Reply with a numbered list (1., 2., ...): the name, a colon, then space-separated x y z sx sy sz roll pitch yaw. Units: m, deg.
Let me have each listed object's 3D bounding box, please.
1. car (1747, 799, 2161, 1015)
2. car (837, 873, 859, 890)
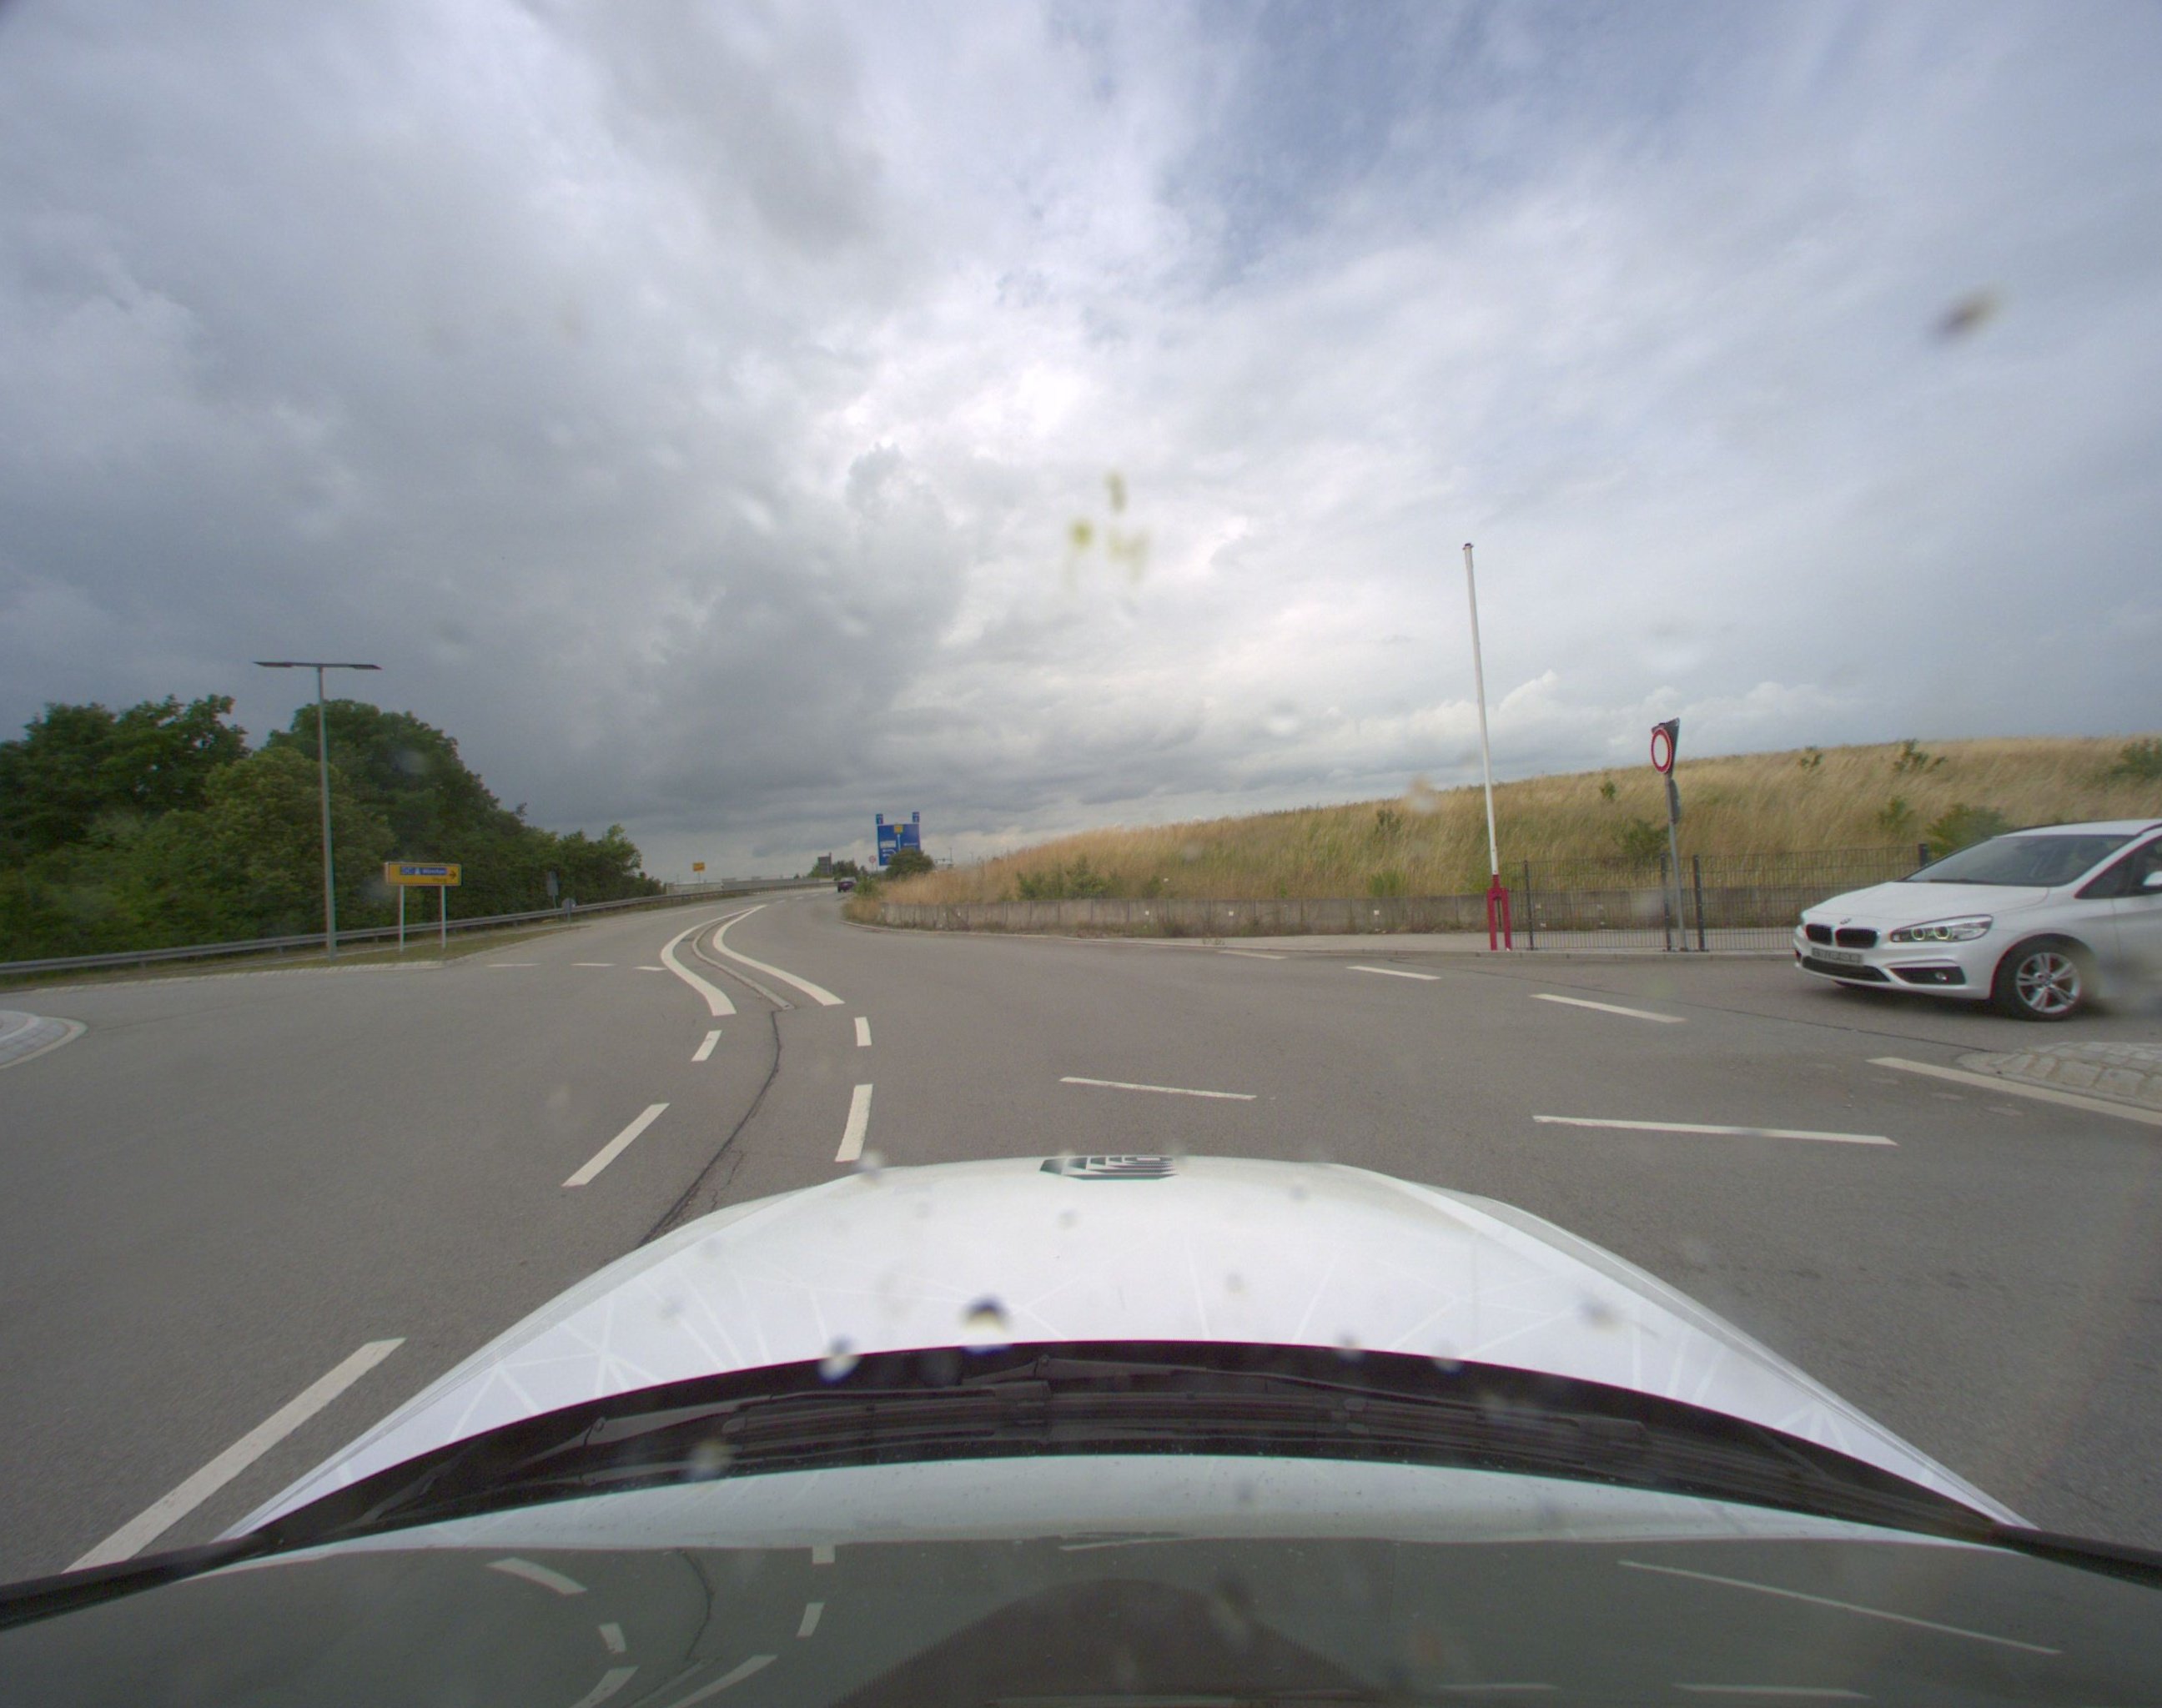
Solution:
1. car: 8.836 0.387 7.099 4.390 1.629 1.787 -2 -1 6
2. car: -21.648 2.527 75.691 1.518 1.485 3.603 -3 -2 -9
